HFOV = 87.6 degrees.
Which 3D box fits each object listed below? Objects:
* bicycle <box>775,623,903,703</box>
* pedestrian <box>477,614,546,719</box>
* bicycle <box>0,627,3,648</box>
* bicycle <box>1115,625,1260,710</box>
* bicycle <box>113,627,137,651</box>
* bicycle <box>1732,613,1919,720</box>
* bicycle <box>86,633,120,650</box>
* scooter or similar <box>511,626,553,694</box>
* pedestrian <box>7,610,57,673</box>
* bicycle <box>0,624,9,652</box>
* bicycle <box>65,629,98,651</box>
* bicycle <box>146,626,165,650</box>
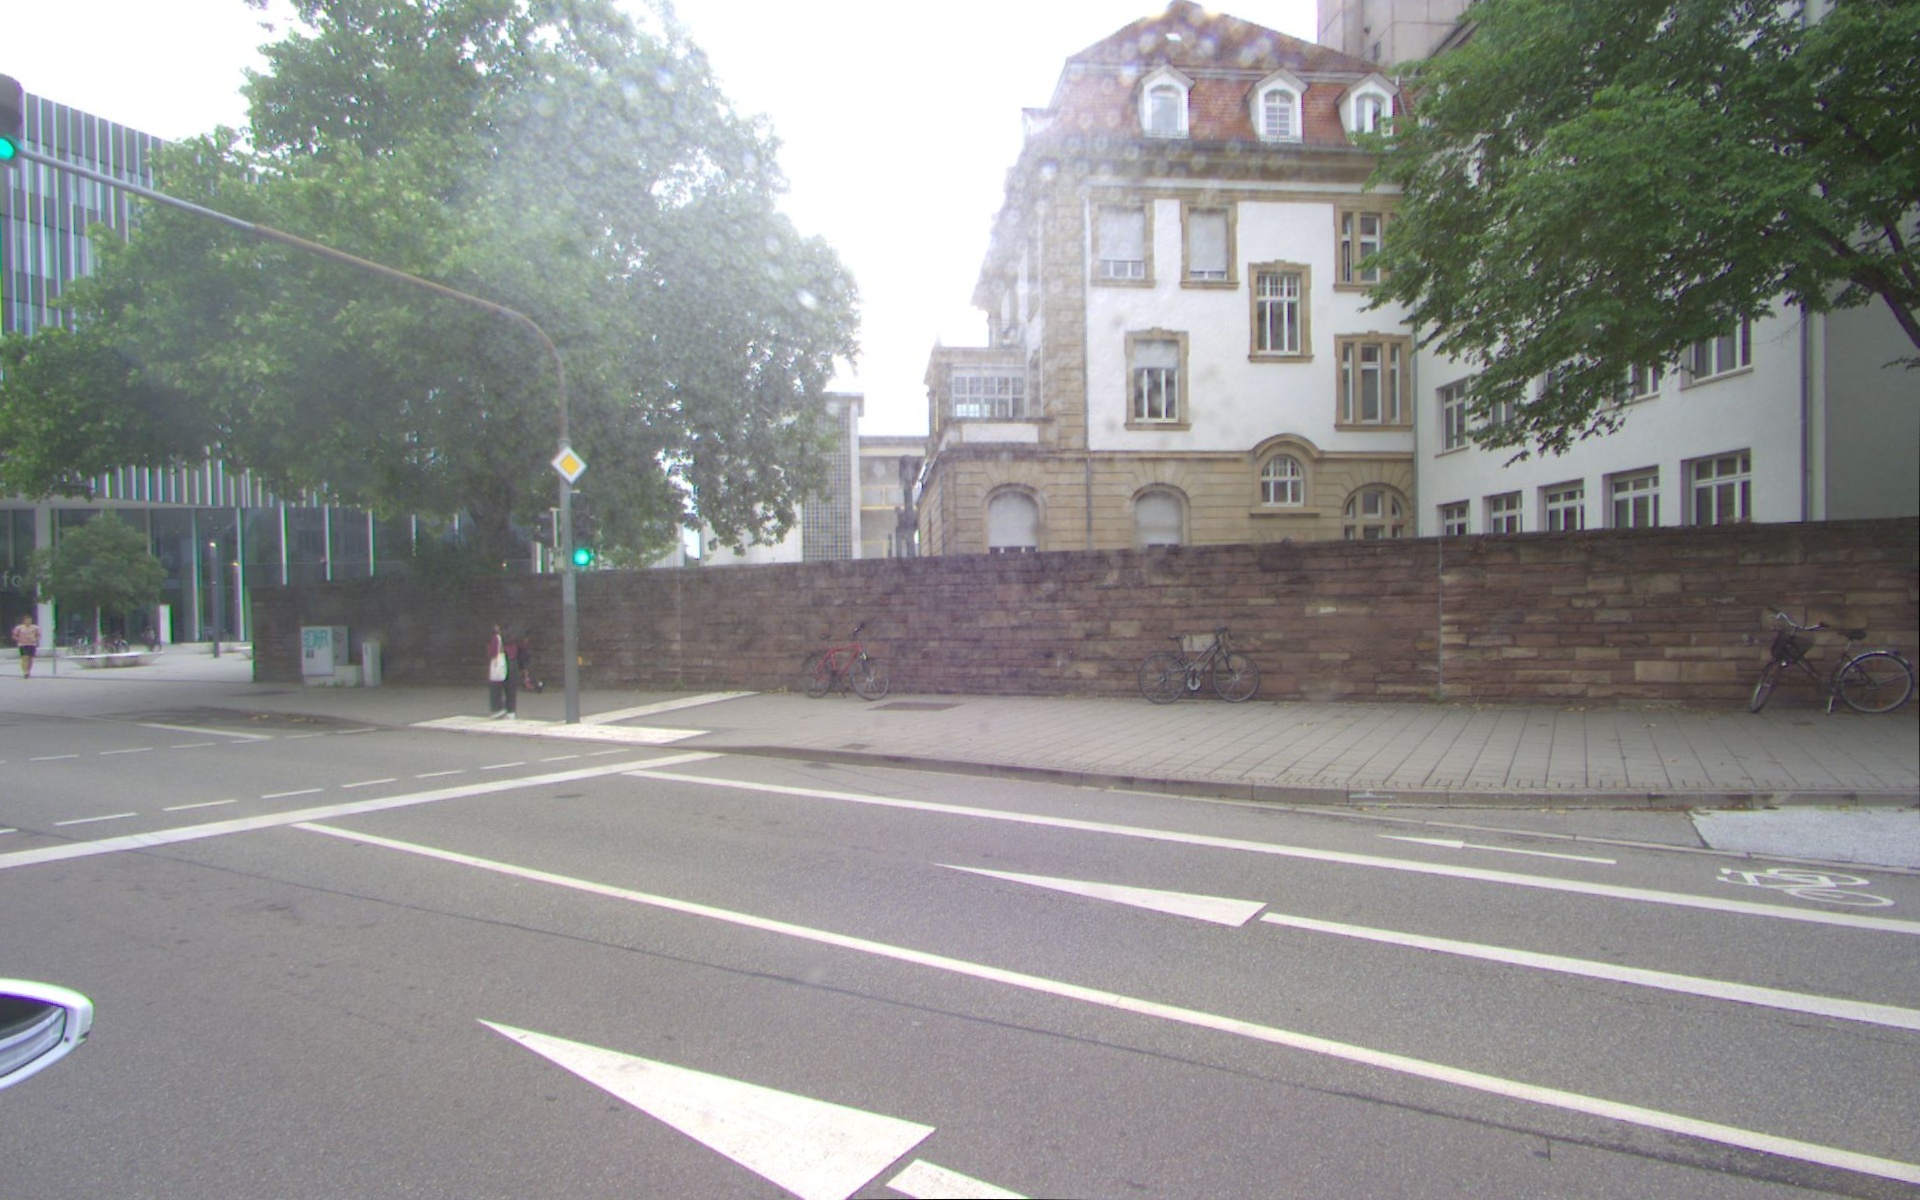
[{"bbox_3d":[-1.969,0.991,16.292,1.923,1.190,0.802,-1,3,27],"label":"bicycle"},{"bbox_3d":[-7.120,1.031,15.907,0.627,1.584,0.658,0,5,32],"label":"pedestrian"},{"bbox_3d":[-48.433,1.911,49.931,0.613,1.060,1.696,-2,2,-31],"label":"bicycle"},{"bbox_3d":[3.233,0.935,14.170,1.934,1.088,0.941,-1,2,17],"label":"bicycle"},{"bbox_3d":[-40.475,1.869,48.553,0.802,1.070,1.933,-2,2,-38],"label":"bicycle"},{"bbox_3d":[10.182,0.747,11.511,1.889,1.143,0.849,-1,2,17],"label":"bicycle"},{"bbox_3d":[-41.601,2.014,48.615,0.510,0.726,1.525,-1,1,-11],"label":"bicycle"},{"bbox_3d":[-8.360,1.146,19.538,0.427,1.195,1.693,-3,2,-33],"label":"scooter or similar"},{"bbox_3d":[-27.425,1.217,29.592,0.756,1.789,0.845,0,2,32],"label":"pedestrian"},{"bbox_3d":[-46.270,1.829,48.198,0.522,1.270,1.652,-3,2,-39],"label":"bicycle"},{"bbox_3d":[-42.417,1.938,48.366,0.686,0.959,1.975,-2,1,-27],"label":"bicycle"},{"bbox_3d":[-39.223,1.830,48.833,0.616,1.070,1.933,-2,2,-38],"label":"bicycle"}]
